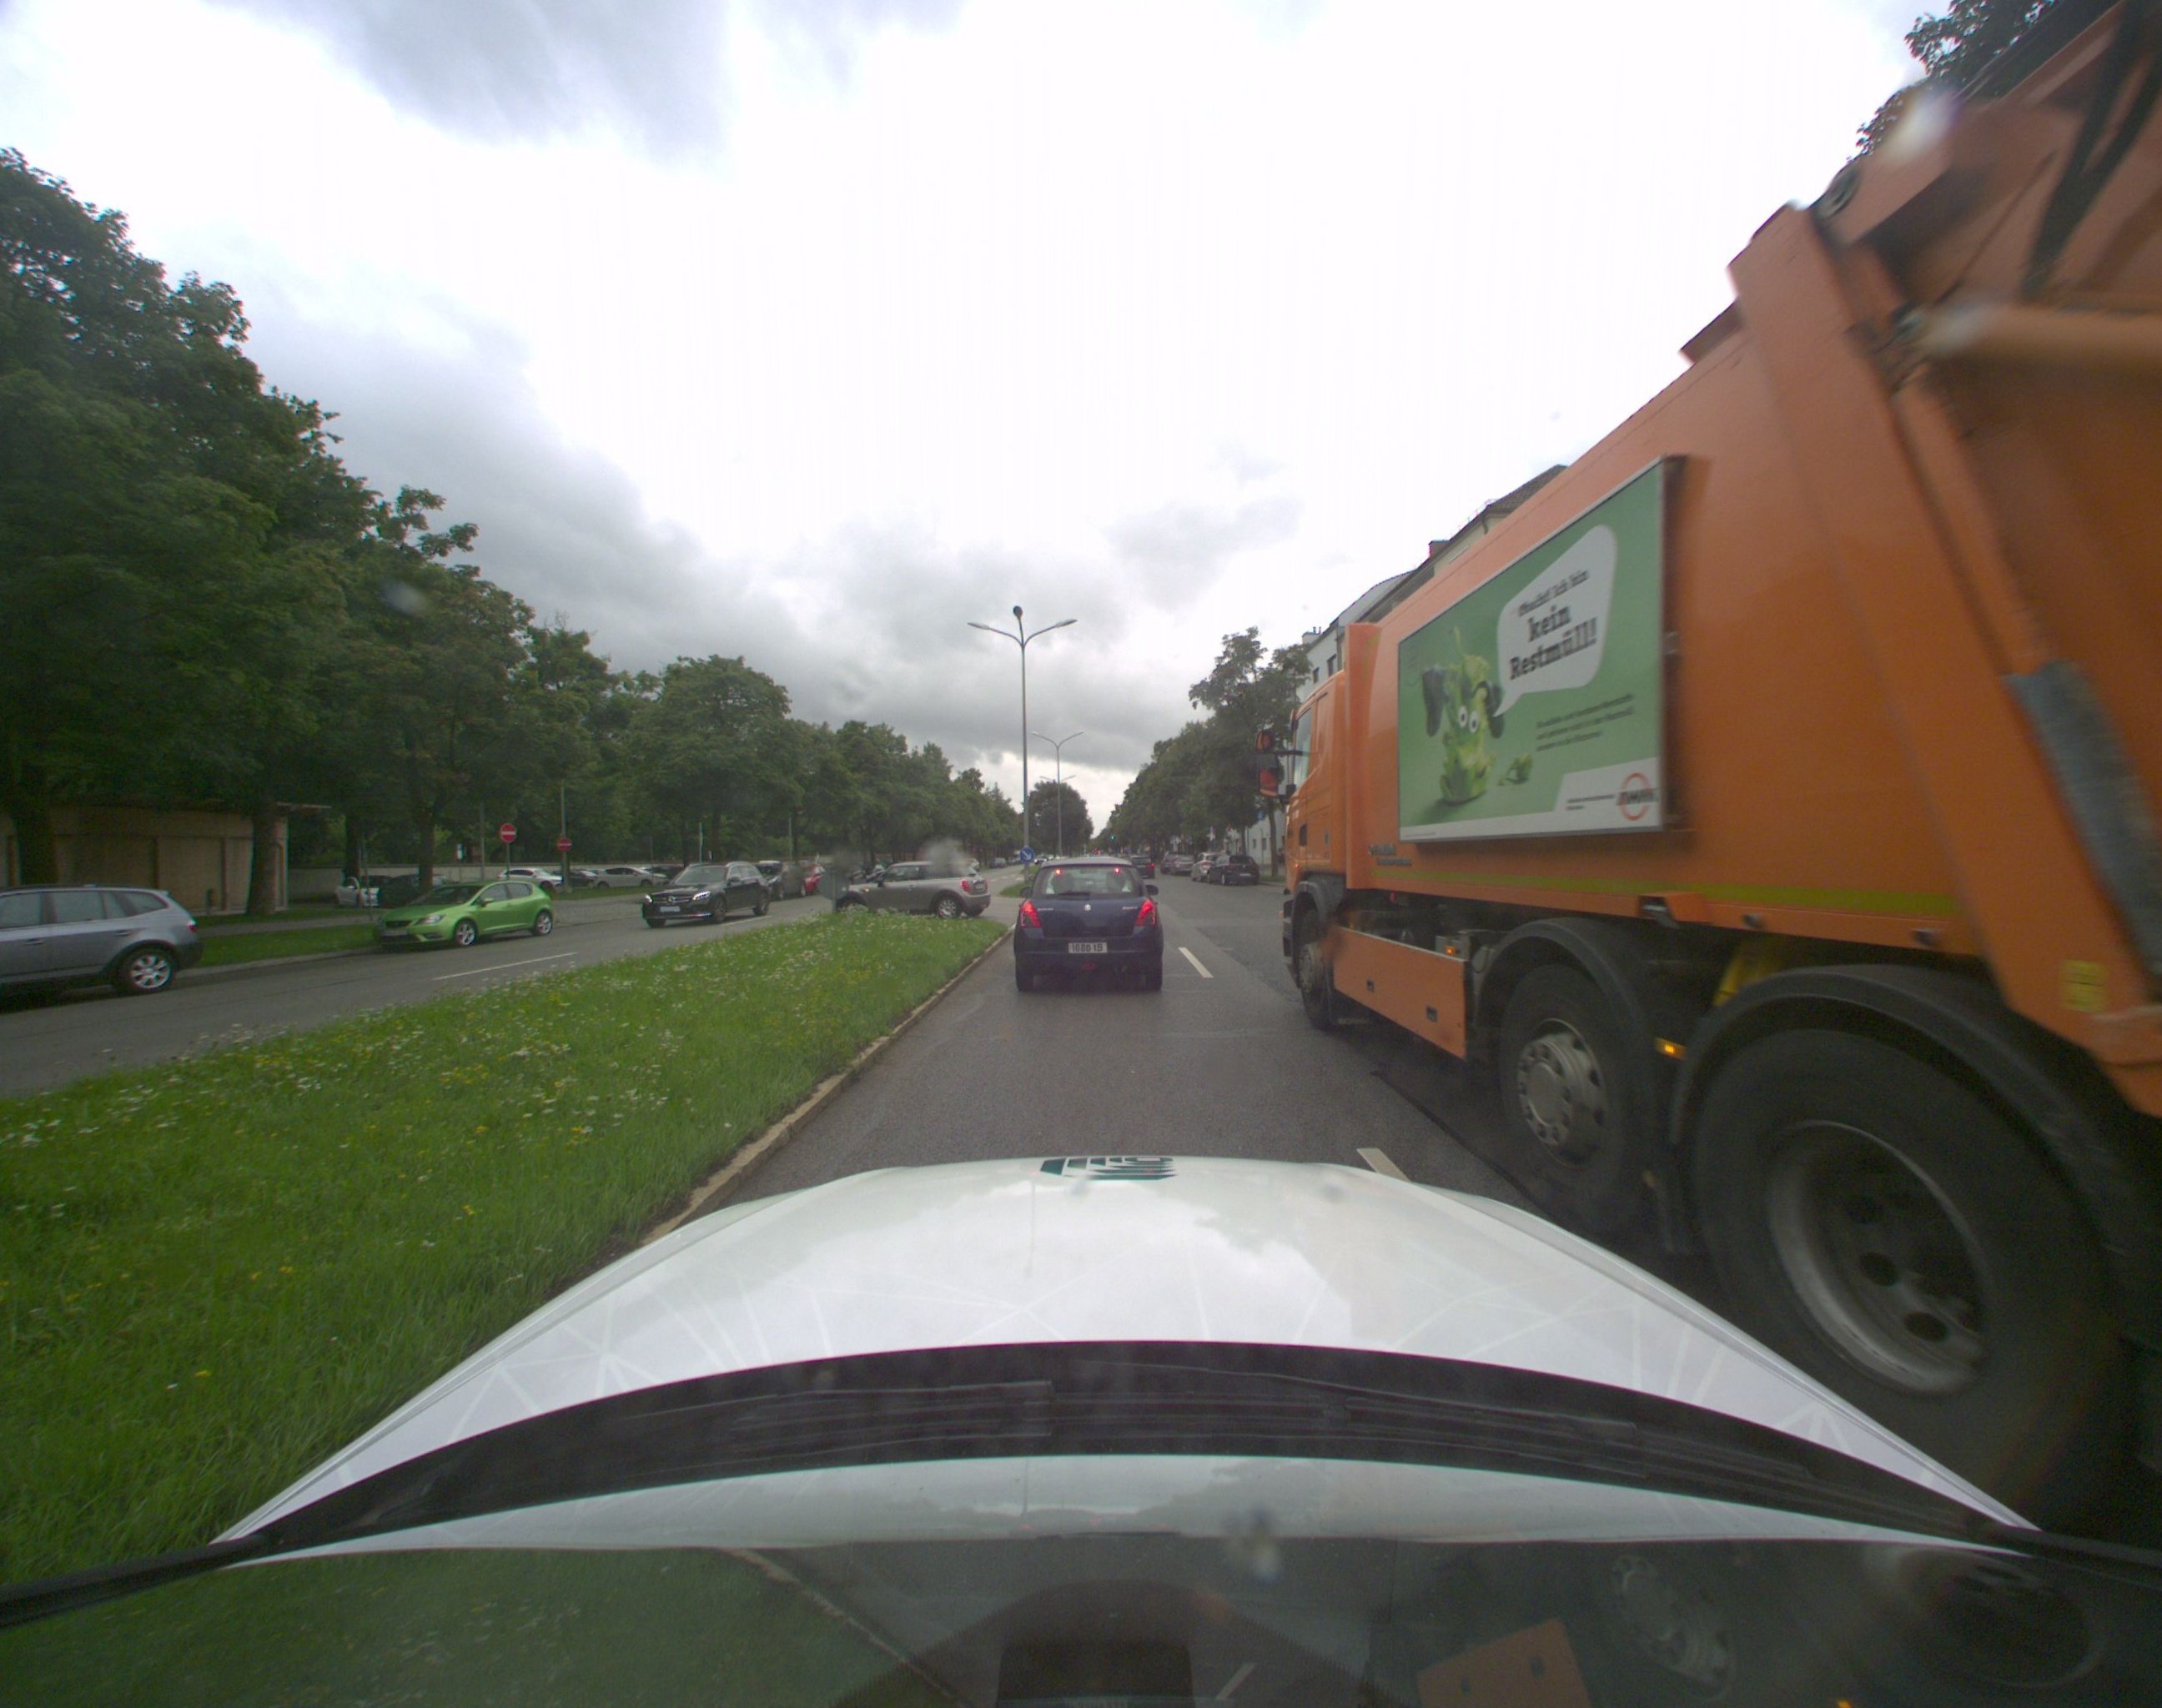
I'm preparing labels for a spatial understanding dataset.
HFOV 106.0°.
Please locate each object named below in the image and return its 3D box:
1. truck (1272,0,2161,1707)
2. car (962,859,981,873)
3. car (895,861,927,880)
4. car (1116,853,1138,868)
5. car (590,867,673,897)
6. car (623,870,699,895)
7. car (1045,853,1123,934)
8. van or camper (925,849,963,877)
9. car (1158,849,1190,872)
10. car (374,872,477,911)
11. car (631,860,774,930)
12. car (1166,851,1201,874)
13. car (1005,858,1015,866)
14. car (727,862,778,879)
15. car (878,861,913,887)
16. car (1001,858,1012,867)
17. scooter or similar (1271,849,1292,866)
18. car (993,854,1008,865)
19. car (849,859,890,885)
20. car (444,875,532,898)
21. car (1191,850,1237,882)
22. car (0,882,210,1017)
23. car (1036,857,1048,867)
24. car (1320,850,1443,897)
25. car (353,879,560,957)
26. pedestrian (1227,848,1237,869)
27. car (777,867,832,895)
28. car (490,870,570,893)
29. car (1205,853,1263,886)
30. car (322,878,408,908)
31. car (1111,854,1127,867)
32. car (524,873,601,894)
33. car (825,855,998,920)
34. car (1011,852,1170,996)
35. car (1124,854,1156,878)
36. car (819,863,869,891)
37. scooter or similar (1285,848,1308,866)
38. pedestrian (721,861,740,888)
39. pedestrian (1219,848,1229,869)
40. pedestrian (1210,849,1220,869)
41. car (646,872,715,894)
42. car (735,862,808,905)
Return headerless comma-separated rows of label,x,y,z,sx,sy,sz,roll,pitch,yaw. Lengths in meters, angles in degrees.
truck,3.279,-0.146,3.484,3.027,3.189,9.136,-1,0,2
car,-12.525,1.318,93.107,1.627,1.583,3.879,-1,0,0
car,-13.172,1.270,63.397,1.627,1.431,3.879,-1,0,0
car,4.342,0.601,77.689,1.726,1.432,4.439,0,0,-2
car,-26.603,1.645,48.257,3.911,1.718,1.670,-1,0,-5
car,-26.385,1.788,51.204,3.859,1.445,1.670,-1,0,-5
car,0.056,0.747,16.867,1.439,1.483,3.106,-1,0,0
van or camper,-12.964,0.831,77.584,2.109,2.482,7.452,-1,0,2
car,7.056,0.471,62.192,1.860,1.682,4.223,-2,0,-1
car,-26.631,1.472,33.056,4.363,1.446,1.973,-1,-1,33
car,-10.386,1.057,22.795,1.760,1.623,4.507,-3,0,1
car,7.200,0.573,57.517,1.860,1.517,4.223,-2,0,-1
car,-13.558,1.509,156.079,1.627,1.583,3.879,-1,0,0
car,-29.352,1.440,72.882,3.859,1.445,1.670,-1,0,-5
car,-13.186,1.386,58.060,1.627,1.741,3.879,-1,0,0
car,-13.340,1.474,146.254,1.627,1.583,3.879,-1,0,0
scooter or similar,16.119,0.255,65.517,1.029,1.307,2.756,-2,0,2
car,-11.439,0.744,116.130,1.627,1.583,3.879,-1,0,0
car,-13.363,1.128,51.685,1.585,1.558,3.879,-1,0,0
car,-39.645,2.169,54.485,4.672,1.446,1.673,-1,-1,2
car,7.154,0.616,44.250,1.786,1.558,4.224,-2,0,0
car,-14.320,1.275,10.353,1.685,1.586,4.371,-3,0,0
car,-5.896,1.249,124.381,1.627,1.552,3.879,-1,0,0
car,9.907,0.630,26.828,3.514,1.417,1.883,-2,0,29
car,-14.155,1.383,18.779,1.541,1.409,3.883,-3,0,4
pedestrian,15.092,0.458,81.160,0.791,2.013,1.006,-1,0,1
car,-13.878,1.316,41.040,1.585,1.312,3.380,-1,0,0
car,-38.501,1.907,56.953,4.489,1.476,1.673,-1,-1,1
car,7.340,0.704,39.472,1.861,1.417,4.221,-2,0,-2
car,-31.344,1.692,35.630,4.363,1.201,1.683,-1,-1,33
car,4.097,0.705,87.947,1.676,1.383,3.919,0,0,1
car,-38.969,2.194,61.255,4.674,1.445,1.673,-1,0,1
car,-4.079,0.806,19.767,3.695,1.463,1.694,-1,0,13
car,0.113,0.748,10.683,1.676,1.502,3.918,-1,0,0
car,3.715,0.746,51.864,1.752,1.413,4.463,0,0,1
car,-13.391,1.261,46.180,1.662,1.445,3.879,-1,0,0
scooter or similar,16.233,0.226,61.429,1.029,1.307,2.756,-2,0,2
pedestrian,-20.054,1.183,46.583,0.725,1.534,0.721,-1,-1,1
pedestrian,14.278,0.465,81.145,0.791,2.013,1.006,-1,0,1
pedestrian,13.382,0.474,81.234,0.791,2.013,1.006,-1,0,1
car,-27.147,1.959,55.290,3.859,1.445,1.670,-1,0,-5
car,-13.694,1.265,36.229,1.711,1.741,3.879,-1,0,0
